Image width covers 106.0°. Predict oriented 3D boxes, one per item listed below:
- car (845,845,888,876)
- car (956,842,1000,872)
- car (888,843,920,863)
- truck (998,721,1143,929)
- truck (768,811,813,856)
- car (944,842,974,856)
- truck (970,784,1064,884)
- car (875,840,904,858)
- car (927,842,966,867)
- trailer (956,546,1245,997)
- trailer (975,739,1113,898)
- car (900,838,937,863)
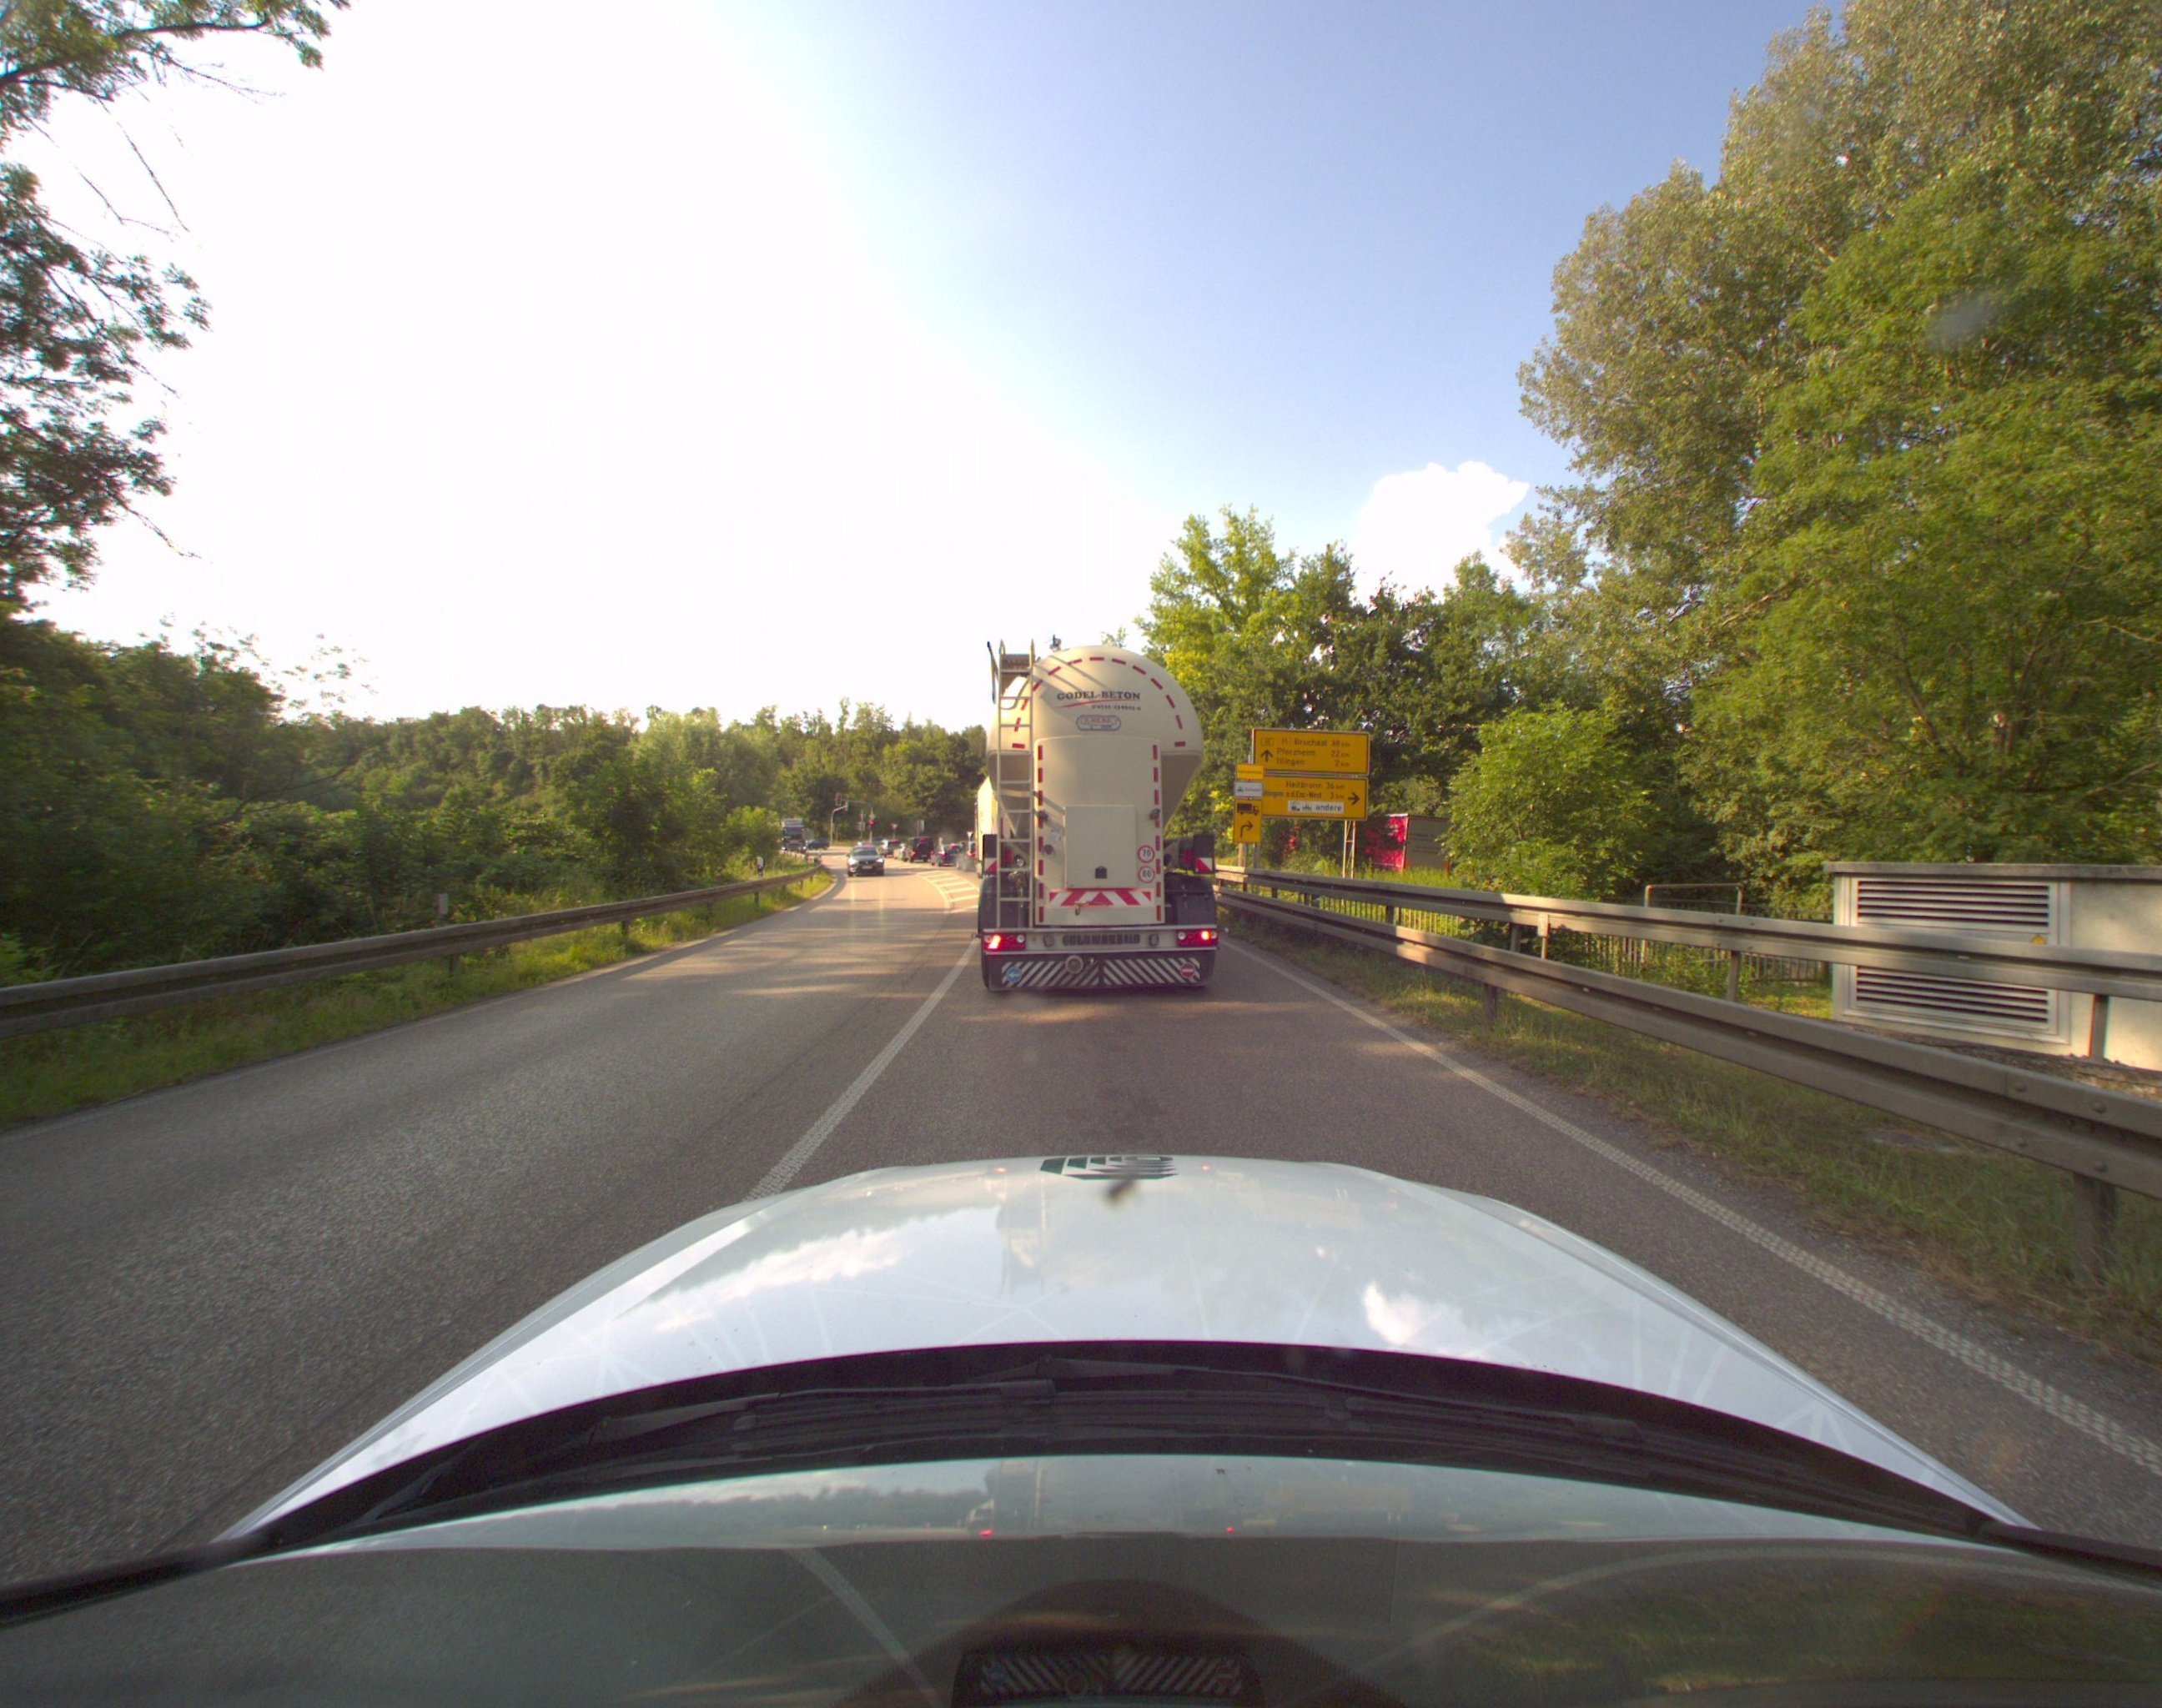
[{"bbox_3d":[-11.491,0.309,43.501,1.873,1.564,3.974,-1,1,-19],"label":"car"},{"bbox_3d":[-5.954,0.142,46.727,1.872,1.628,3.978,-2,1,-16],"label":"car"},{"bbox_3d":[-15.517,-0.090,71.399,1.877,1.683,3.967,2,0,-25],"label":"car"},{"bbox_3d":[-0.447,-0.576,18.853,2.820,4.035,5.883,0,0,-5],"label":"truck"},{"bbox_3d":[-31.481,-2.107,87.975,3.030,4.585,10.146,0,0,-29],"label":"truck"},{"bbox_3d":[-18.013,-0.746,120.249,4.019,2.013,1.977,1,0,-38],"label":"car"},{"bbox_3d":[-3.044,-0.817,36.856,3.452,4.086,6.465,1,0,-11],"label":"truck"},{"bbox_3d":[-18.185,-0.459,77.068,1.877,1.595,3.967,2,0,-25],"label":"car"},{"bbox_3d":[-9.120,-0.003,55.045,1.874,1.564,3.974,-2,1,-19],"label":"car"},{"bbox_3d":[-0.053,-0.831,12.928,2.880,4.454,9.594,0,0,-3],"label":"trailer"},{"bbox_3d":[-1.858,-0.991,29.853,3.545,4.513,12.942,1,0,-9],"label":"trailer"},{"bbox_3d":[-12.769,-0.269,63.992,1.966,1.851,3.968,-2,1,-24],"label":"car"}]
